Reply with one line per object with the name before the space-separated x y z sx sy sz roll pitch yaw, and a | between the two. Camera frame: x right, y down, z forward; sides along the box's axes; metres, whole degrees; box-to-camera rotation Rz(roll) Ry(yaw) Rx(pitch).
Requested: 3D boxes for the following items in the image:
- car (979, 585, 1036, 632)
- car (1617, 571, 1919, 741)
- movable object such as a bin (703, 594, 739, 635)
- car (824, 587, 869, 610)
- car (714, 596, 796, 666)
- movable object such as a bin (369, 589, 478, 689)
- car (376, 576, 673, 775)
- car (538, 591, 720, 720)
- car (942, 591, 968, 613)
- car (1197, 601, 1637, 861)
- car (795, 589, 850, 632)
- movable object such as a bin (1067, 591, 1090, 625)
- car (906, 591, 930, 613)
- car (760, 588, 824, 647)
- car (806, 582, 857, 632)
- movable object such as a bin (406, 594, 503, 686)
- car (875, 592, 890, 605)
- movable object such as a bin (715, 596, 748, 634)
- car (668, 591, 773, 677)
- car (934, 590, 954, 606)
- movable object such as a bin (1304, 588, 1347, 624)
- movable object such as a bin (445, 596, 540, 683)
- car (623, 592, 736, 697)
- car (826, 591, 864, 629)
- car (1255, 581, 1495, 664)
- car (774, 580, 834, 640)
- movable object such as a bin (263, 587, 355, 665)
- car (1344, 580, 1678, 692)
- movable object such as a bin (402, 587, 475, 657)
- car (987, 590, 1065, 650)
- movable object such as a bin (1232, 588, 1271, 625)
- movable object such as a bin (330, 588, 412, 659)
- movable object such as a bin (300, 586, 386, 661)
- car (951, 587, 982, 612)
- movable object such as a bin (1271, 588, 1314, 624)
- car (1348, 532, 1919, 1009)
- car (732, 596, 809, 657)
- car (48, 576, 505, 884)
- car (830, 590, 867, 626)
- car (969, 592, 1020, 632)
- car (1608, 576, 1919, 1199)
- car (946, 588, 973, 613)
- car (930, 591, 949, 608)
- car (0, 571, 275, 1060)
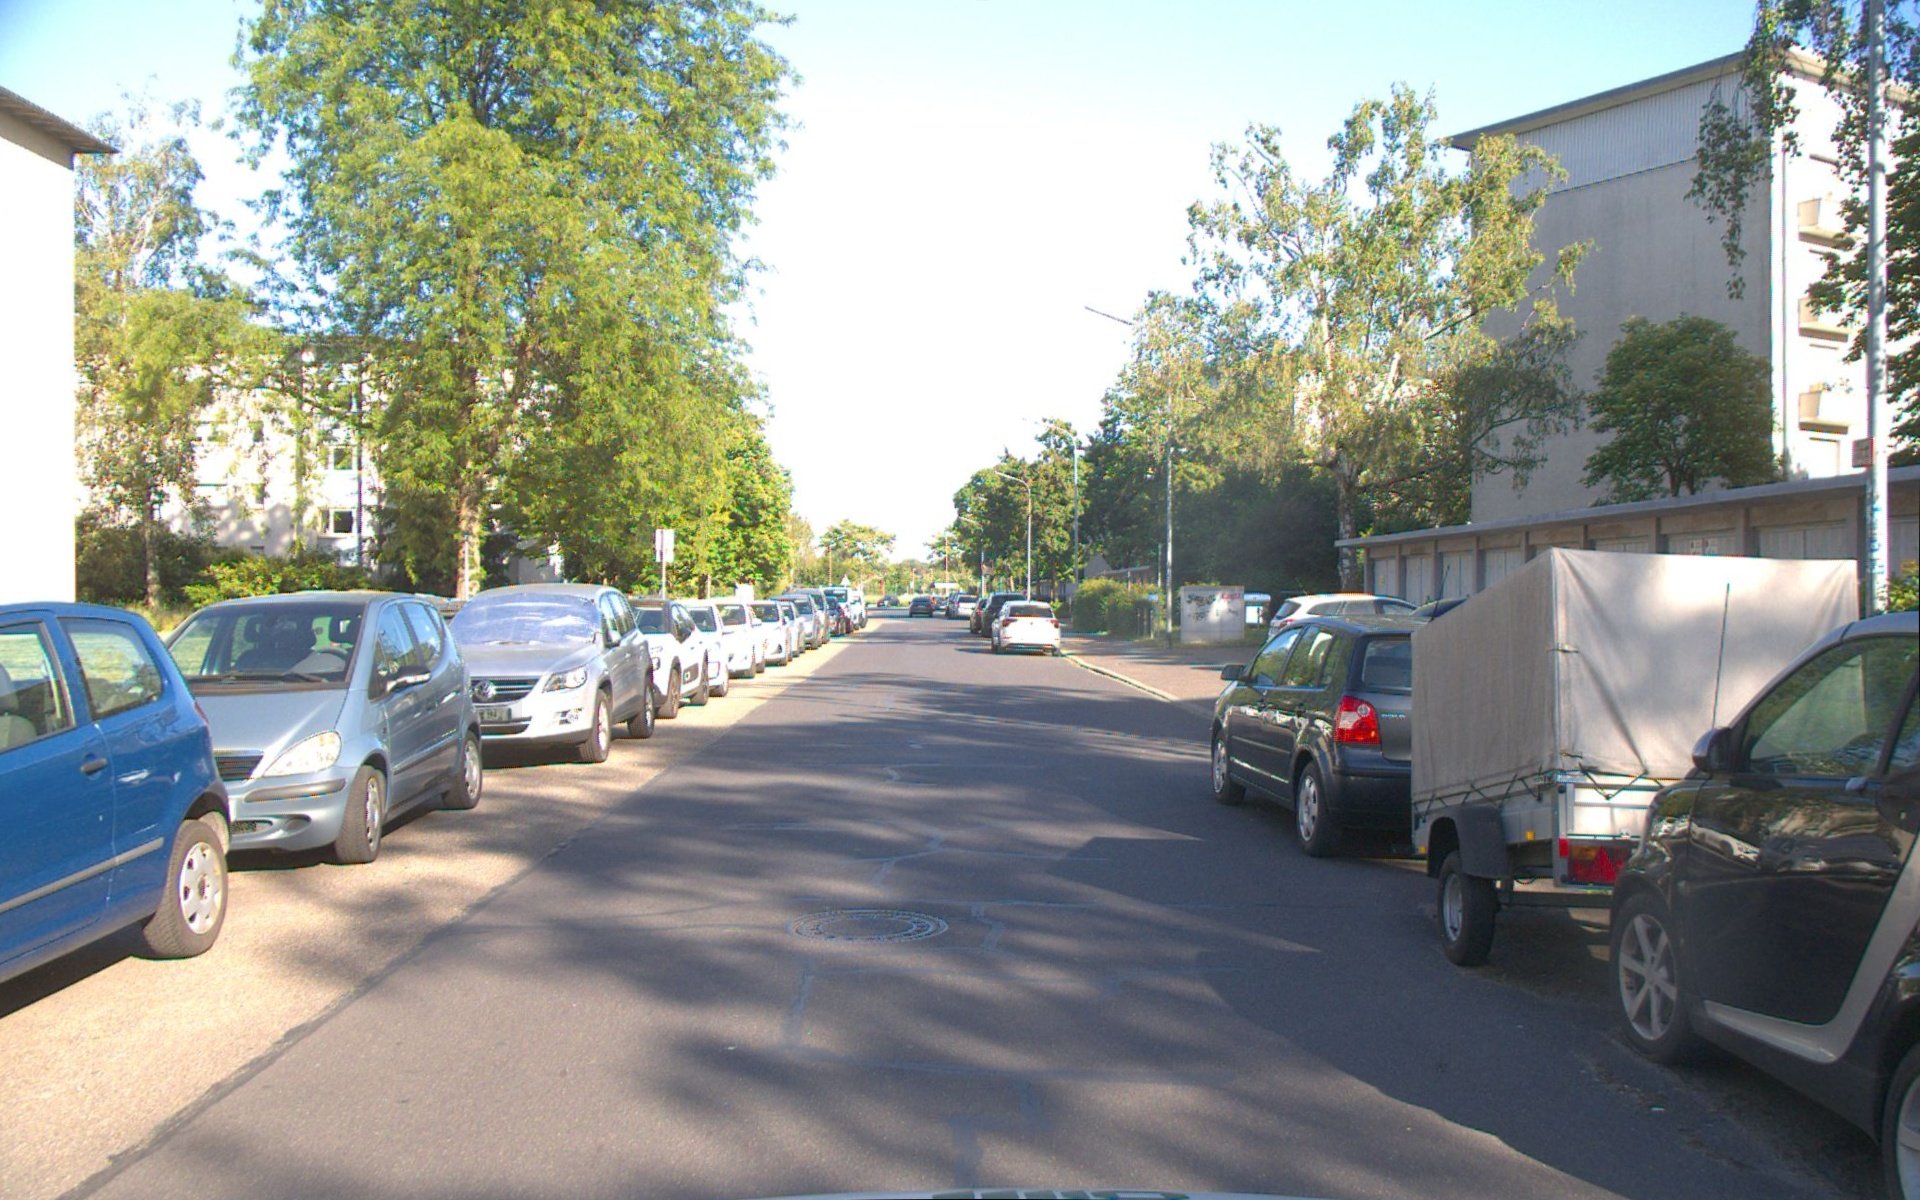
car | 1.756 0.312 62.198 1.869 1.668 4.627 1 0 -2
car | 8.802 0.495 16.377 3.865 1.540 1.827 -1 0 -5
movable object such as a bin | -8.833 0.526 61.120 1.079 1.445 1.360 2 0 -1
car | -10.265 -0.147 150.038 3.976 2.027 1.799 1 0 -7
car | -4.772 0.687 38.901 1.653 1.532 3.815 -1 0 -3
movable object such as a bin | -8.005 0.569 24.748 1.113 1.407 1.442 2 0 0
car | -4.106 0.637 16.349 1.864 1.668 4.347 -1 0 -2
car | -4.310 0.667 22.086 1.629 1.540 3.945 -1 0 -1
car | -0.376 0.152 128.692 1.760 1.672 3.948 1 0 -4
car | 2.881 0.747 11.327 1.697 1.428 3.892 1 0 -4
car | -5.357 0.391 64.836 1.710 1.560 4.139 -1 0 1
movable object such as a bin | 5.244 0.355 73.237 0.899 1.479 1.232 0 0 -2
car | -3.191 0.145 124.860 1.646 1.540 4.101 2 0 -4
car | -5.039 0.496 49.904 1.676 1.628 3.983 -2 0 -3
car | -5.471 0.277 71.052 1.876 1.997 5.086 -1 0 -1
movable object such as a bin | -8.009 0.617 26.272 1.113 1.381 1.243 2 0 0
car | -9.924 -0.205 211.913 1.760 1.589 3.948 1 0 -4
movable object such as a bin | -8.824 0.579 63.936 1.079 1.380 1.360 2 0 -1
car | -4.720 0.631 33.052 1.652 1.561 3.889 -1 0 -2
car | -1.626 -0.174 163.493 1.760 1.576 3.948 1 0 -4
movable object such as a bin | 14.122 0.241 63.902 1.232 1.376 1.275 0 0 -12
movable object such as a bin | -7.772 0.636 27.550 1.153 1.363 1.343 2 0 0
car | -4.439 0.664 26.549 1.631 1.540 3.532 -1 0 -8
car | -5.531 0.457 79.304 1.712 1.699 4.374 -1 0 -4
car | 8.263 0.428 33.191 4.325 1.540 1.828 -1 0 -1
car | -5.230 0.319 55.873 1.817 1.925 4.415 -1 0 -3
movable object such as a bin | -12.720 0.487 32.347 1.153 1.445 1.462 2 0 0
car | 8.231 0.518 24.982 4.421 1.540 1.829 -1 0 -1
movable object such as a bin | -11.398 0.474 36.188 1.111 1.445 1.361 2 0 0
car | 1.803 0.520 46.125 1.719 1.540 4.101 2 0 -4
movable object such as a bin | 11.077 0.251 62.948 1.229 1.376 1.278 0 0 -2
movable object such as a bin | -12.650 0.486 35.571 1.153 1.445 1.462 2 0 0
movable object such as a bin | -12.674 0.468 34.049 1.153 1.445 1.462 2 0 0
car | 0.386 -0.059 108.270 1.760 1.589 3.948 1 0 -4
movable object such as a bin | 12.736 0.221 63.368 1.232 1.376 1.276 0 0 -10
car | 2.836 0.636 7.464 1.459 1.748 2.582 1 0 -2
car | -5.027 0.664 44.444 1.653 1.490 4.524 -2 0 -2
car | -4.199 0.695 10.766 1.603 1.634 3.533 -1 0 -3
car | -5.684 0.372 84.890 1.711 1.762 4.004 -1 0 -2
car | 1.385 0.479 68.036 1.869 1.557 4.326 1 0 -2
car | 3.014 0.733 4.707 1.385 1.550 2.558 1 0 2
car | -0.082 0.006 124.132 1.760 1.818 3.948 1 0 -4
car | -2.149 -0.069 171.096 1.760 1.672 3.948 1 0 -4
car | -4.093 0.752 5.794 1.718 1.634 3.968 -2 0 -1
